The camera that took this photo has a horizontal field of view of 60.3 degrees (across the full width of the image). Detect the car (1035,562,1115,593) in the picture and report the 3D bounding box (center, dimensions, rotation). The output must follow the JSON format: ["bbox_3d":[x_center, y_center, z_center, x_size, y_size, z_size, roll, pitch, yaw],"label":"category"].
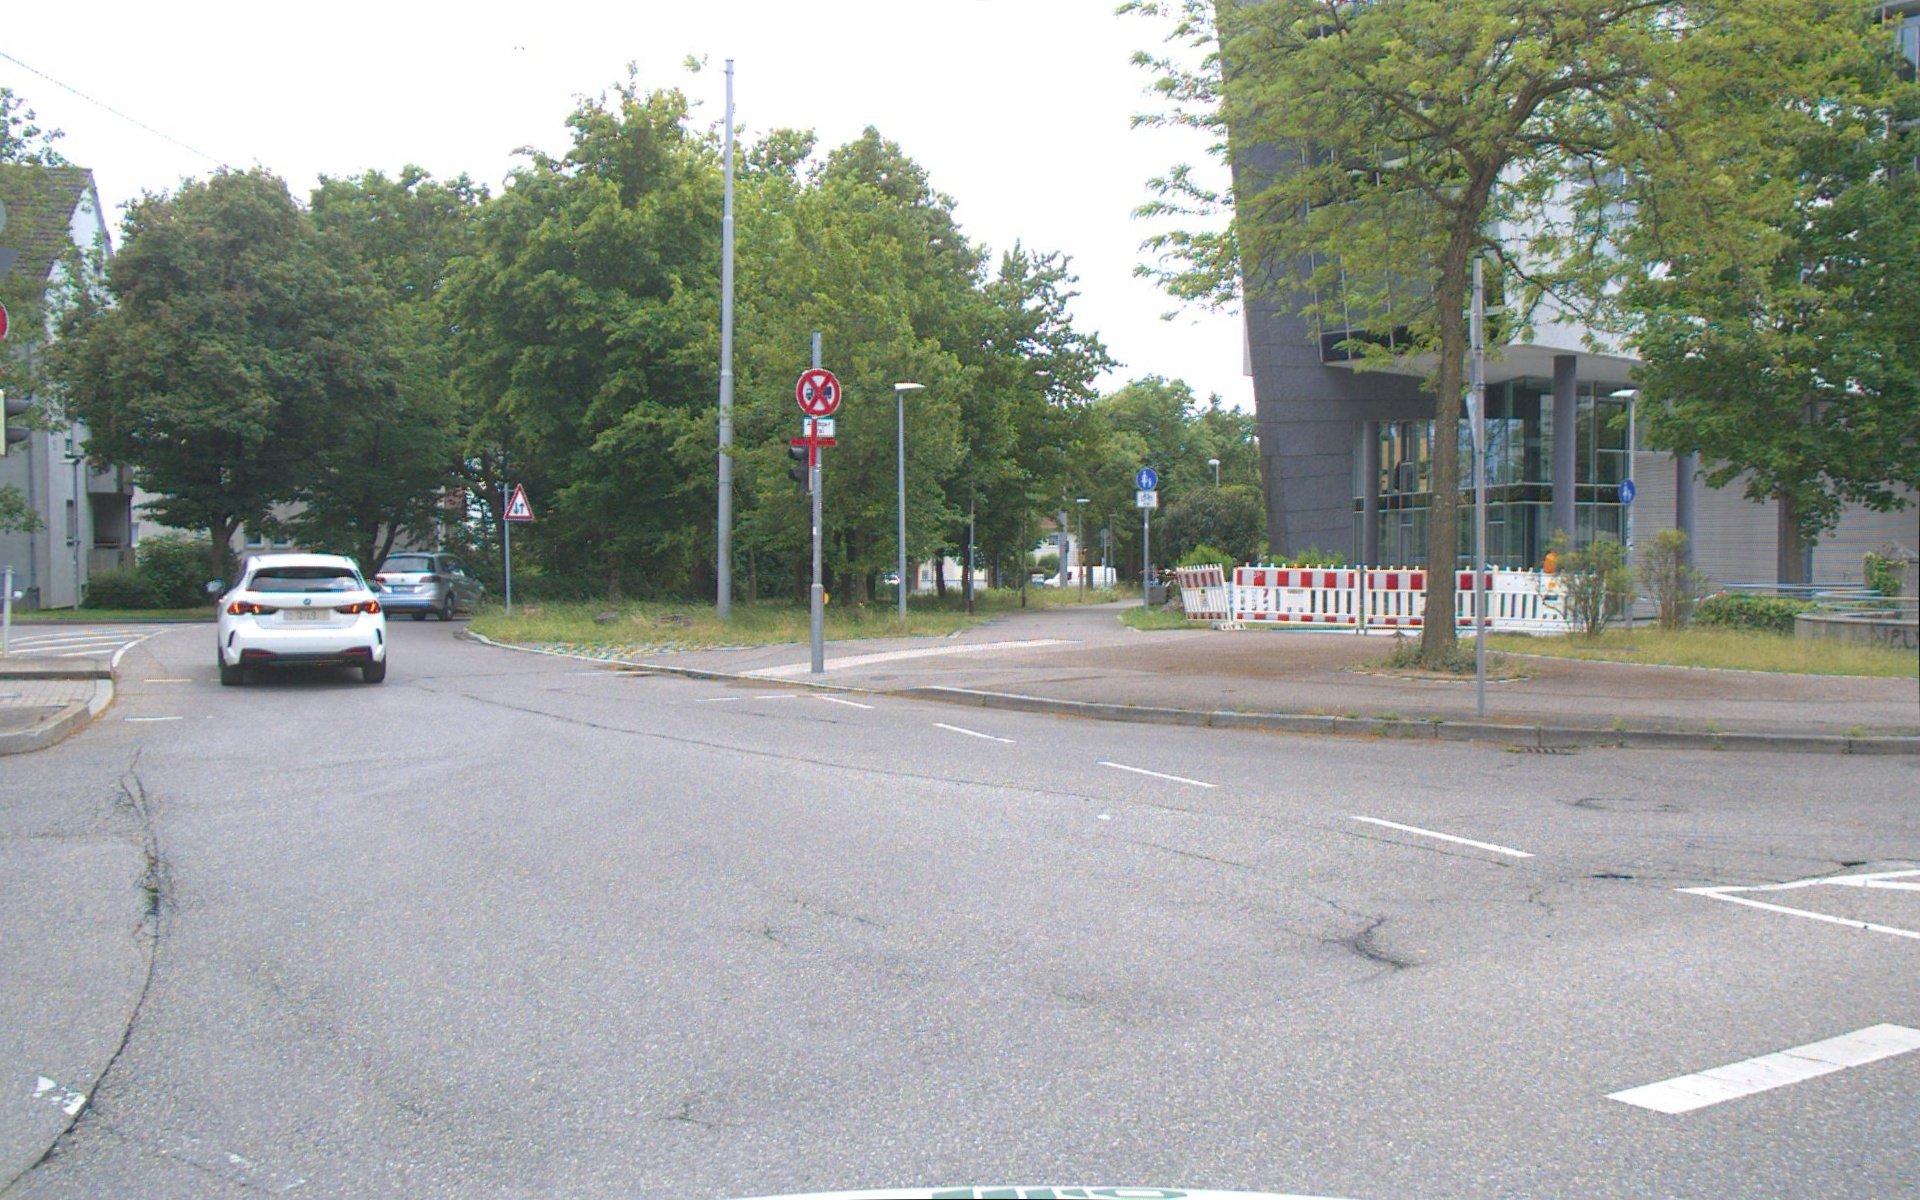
[{"bbox_3d":[10.267,-1.996,147.526,6.847,2.565,2.075,1,2,-17],"label":"car"}]

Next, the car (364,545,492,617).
[{"bbox_3d":[-12.598,-0.442,39.430,1.884,1.601,3.998,0,0,-2],"label":"car"}]

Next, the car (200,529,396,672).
[{"bbox_3d":[-8.168,0.010,20.196,1.775,1.544,4.168,1,0,-28],"label":"car"}]
